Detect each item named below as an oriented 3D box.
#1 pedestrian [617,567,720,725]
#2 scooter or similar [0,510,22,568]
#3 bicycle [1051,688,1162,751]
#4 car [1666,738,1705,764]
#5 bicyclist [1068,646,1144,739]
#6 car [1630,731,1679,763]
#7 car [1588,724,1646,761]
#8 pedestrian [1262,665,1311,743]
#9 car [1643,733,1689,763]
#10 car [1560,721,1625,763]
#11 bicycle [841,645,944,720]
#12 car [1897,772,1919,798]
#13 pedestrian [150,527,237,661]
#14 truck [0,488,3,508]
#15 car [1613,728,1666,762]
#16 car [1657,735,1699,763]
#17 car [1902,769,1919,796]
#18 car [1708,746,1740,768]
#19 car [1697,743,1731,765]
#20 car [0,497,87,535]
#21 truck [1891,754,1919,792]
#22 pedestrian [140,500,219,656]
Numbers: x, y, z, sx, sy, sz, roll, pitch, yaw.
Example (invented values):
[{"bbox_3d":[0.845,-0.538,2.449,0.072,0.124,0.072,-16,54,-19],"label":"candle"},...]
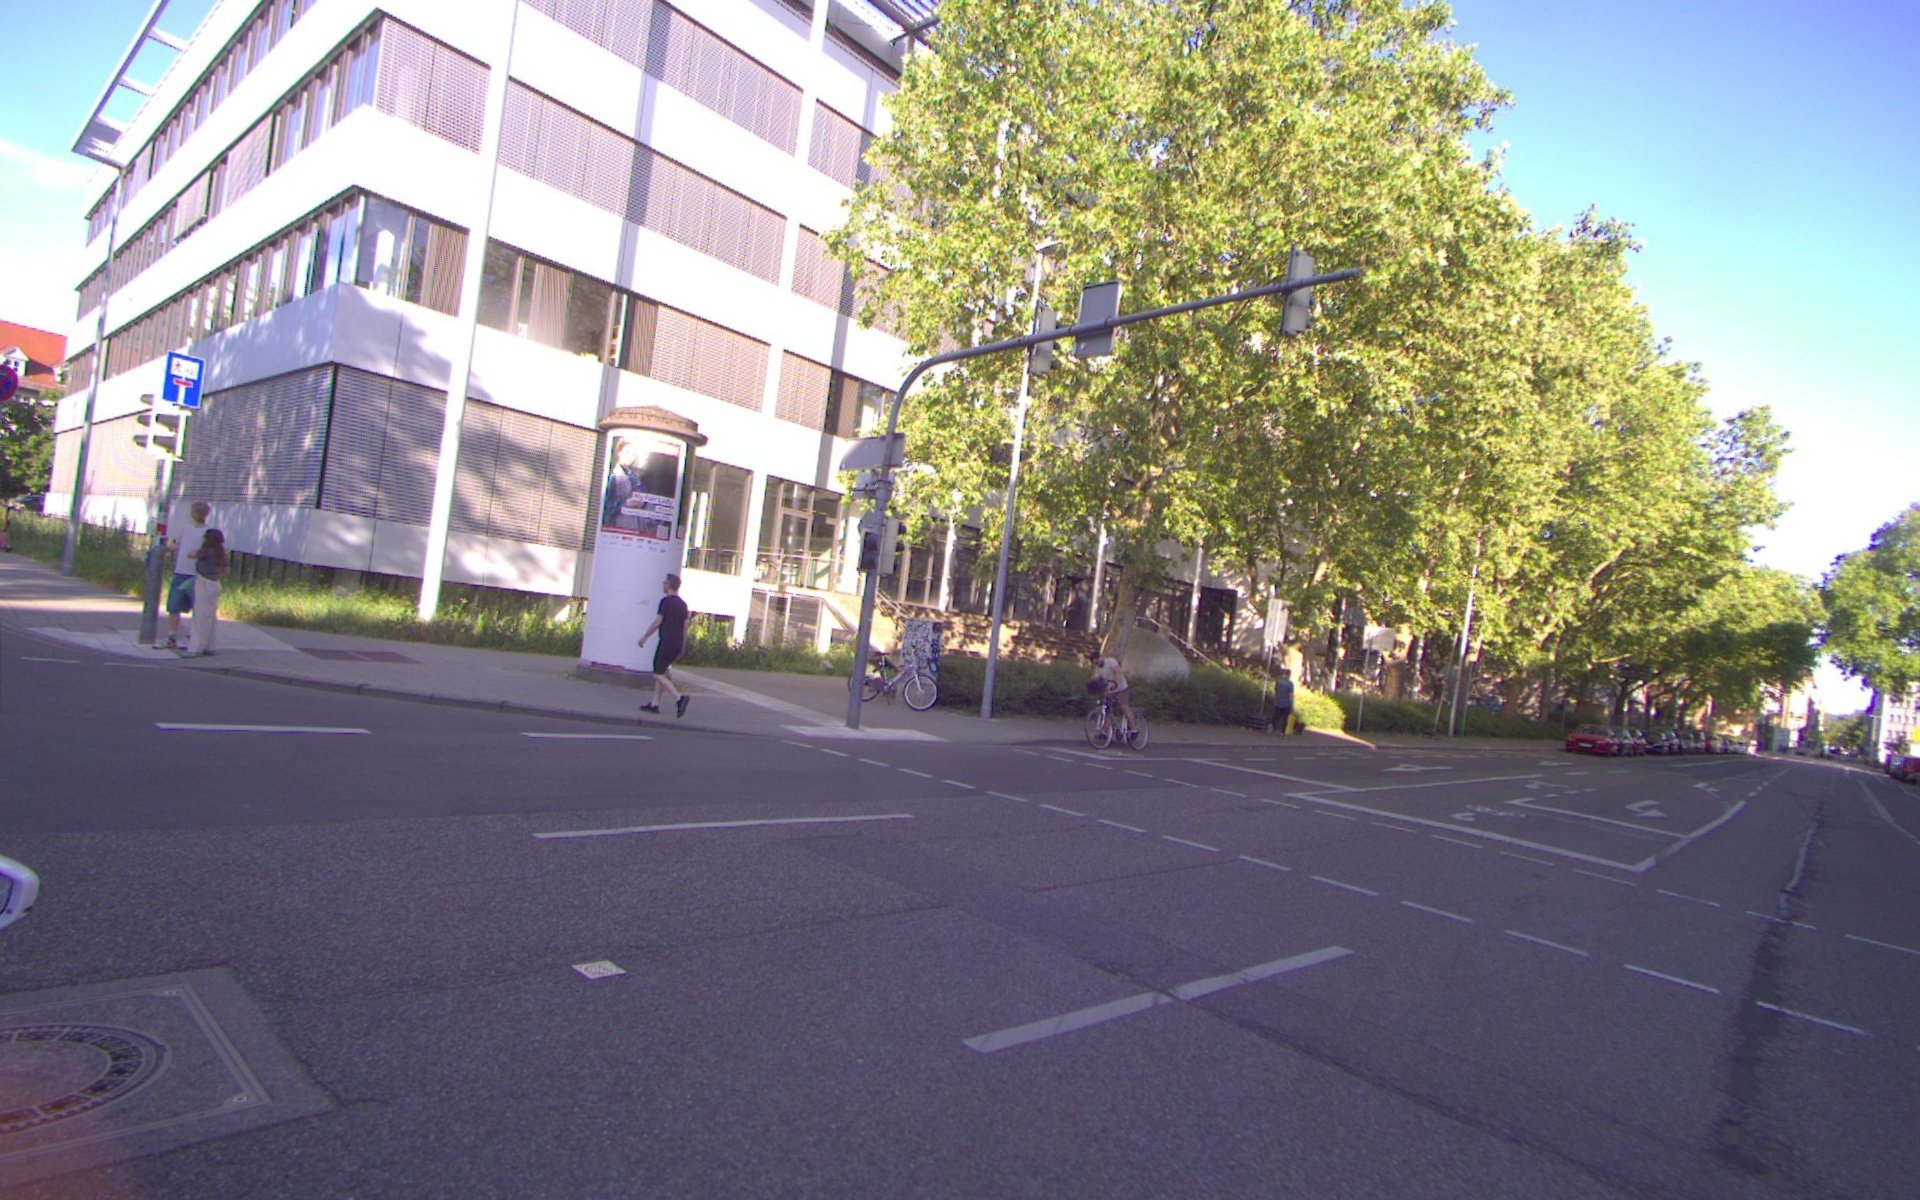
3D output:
[{"bbox_3d":[-3.715,0.582,12.815,0.705,1.860,0.827,10,-2,-42],"label":"pedestrian"},{"bbox_3d":[-25.147,-1.627,26.536,1.317,1.439,0.330,6,-3,43],"label":"scooter or similar"},{"bbox_3d":[2.640,2.150,17.966,2.106,0.937,0.722,9,-2,-43],"label":"bicycle"},{"bbox_3d":[54.265,11.314,75.226,1.865,1.563,3.984,6,-3,42],"label":"car"},{"bbox_3d":[2.589,1.649,17.850,0.949,1.506,0.740,8,-1,-43],"label":"bicyclist"},{"bbox_3d":[42.985,9.108,62.232,1.865,1.563,3.984,6,-3,42],"label":"car"},{"bbox_3d":[34.633,7.539,53.007,1.865,1.563,3.984,6,-3,42],"label":"car"},{"bbox_3d":[8.473,2.699,26.067,0.699,1.860,0.834,7,-2,42],"label":"pedestrian"},{"bbox_3d":[46.265,9.694,65.900,1.865,1.563,3.984,6,-3,42],"label":"car"},{"bbox_3d":[29.941,6.736,47.565,1.865,1.563,3.984,6,-3,42],"label":"car"},{"bbox_3d":[-1.222,1.491,18.337,1.656,1.062,0.508,10,1,13],"label":"bicycle"},{"bbox_3d":[67.253,12.973,69.196,3.945,1.566,1.796,6,-4,42],"label":"car"},{"bbox_3d":[-9.415,-0.067,12.354,0.665,1.561,0.559,7,2,30],"label":"pedestrian"},{"bbox_3d":[-57.561,-5.838,56.272,1.966,2.036,5.352,7,-2,29],"label":"truck"},{"bbox_3d":[38.599,8.245,57.108,1.865,1.563,3.984,6,-3,42],"label":"car"},{"bbox_3d":[49.697,10.352,69.616,1.865,1.563,3.984,6,-3,42],"label":"car"},{"bbox_3d":[62.655,11.915,63.848,3.945,1.566,1.796,6,-4,42],"label":"car"},{"bbox_3d":[68.943,14.182,90.729,1.865,1.563,3.984,6,-3,42],"label":"car"},{"bbox_3d":[64.847,13.260,86.491,1.865,1.563,3.984,6,-3,42],"label":"car"},{"bbox_3d":[-54.941,-5.039,60.283,1.532,1.564,3.564,7,-2,29],"label":"car"},{"bbox_3d":[70.955,12.884,73.262,4.384,2.473,1.796,6,-4,42],"label":"truck"},{"bbox_3d":[-9.867,-0.280,12.733,0.554,1.875,0.672,5,2,-25],"label":"pedestrian"}]
